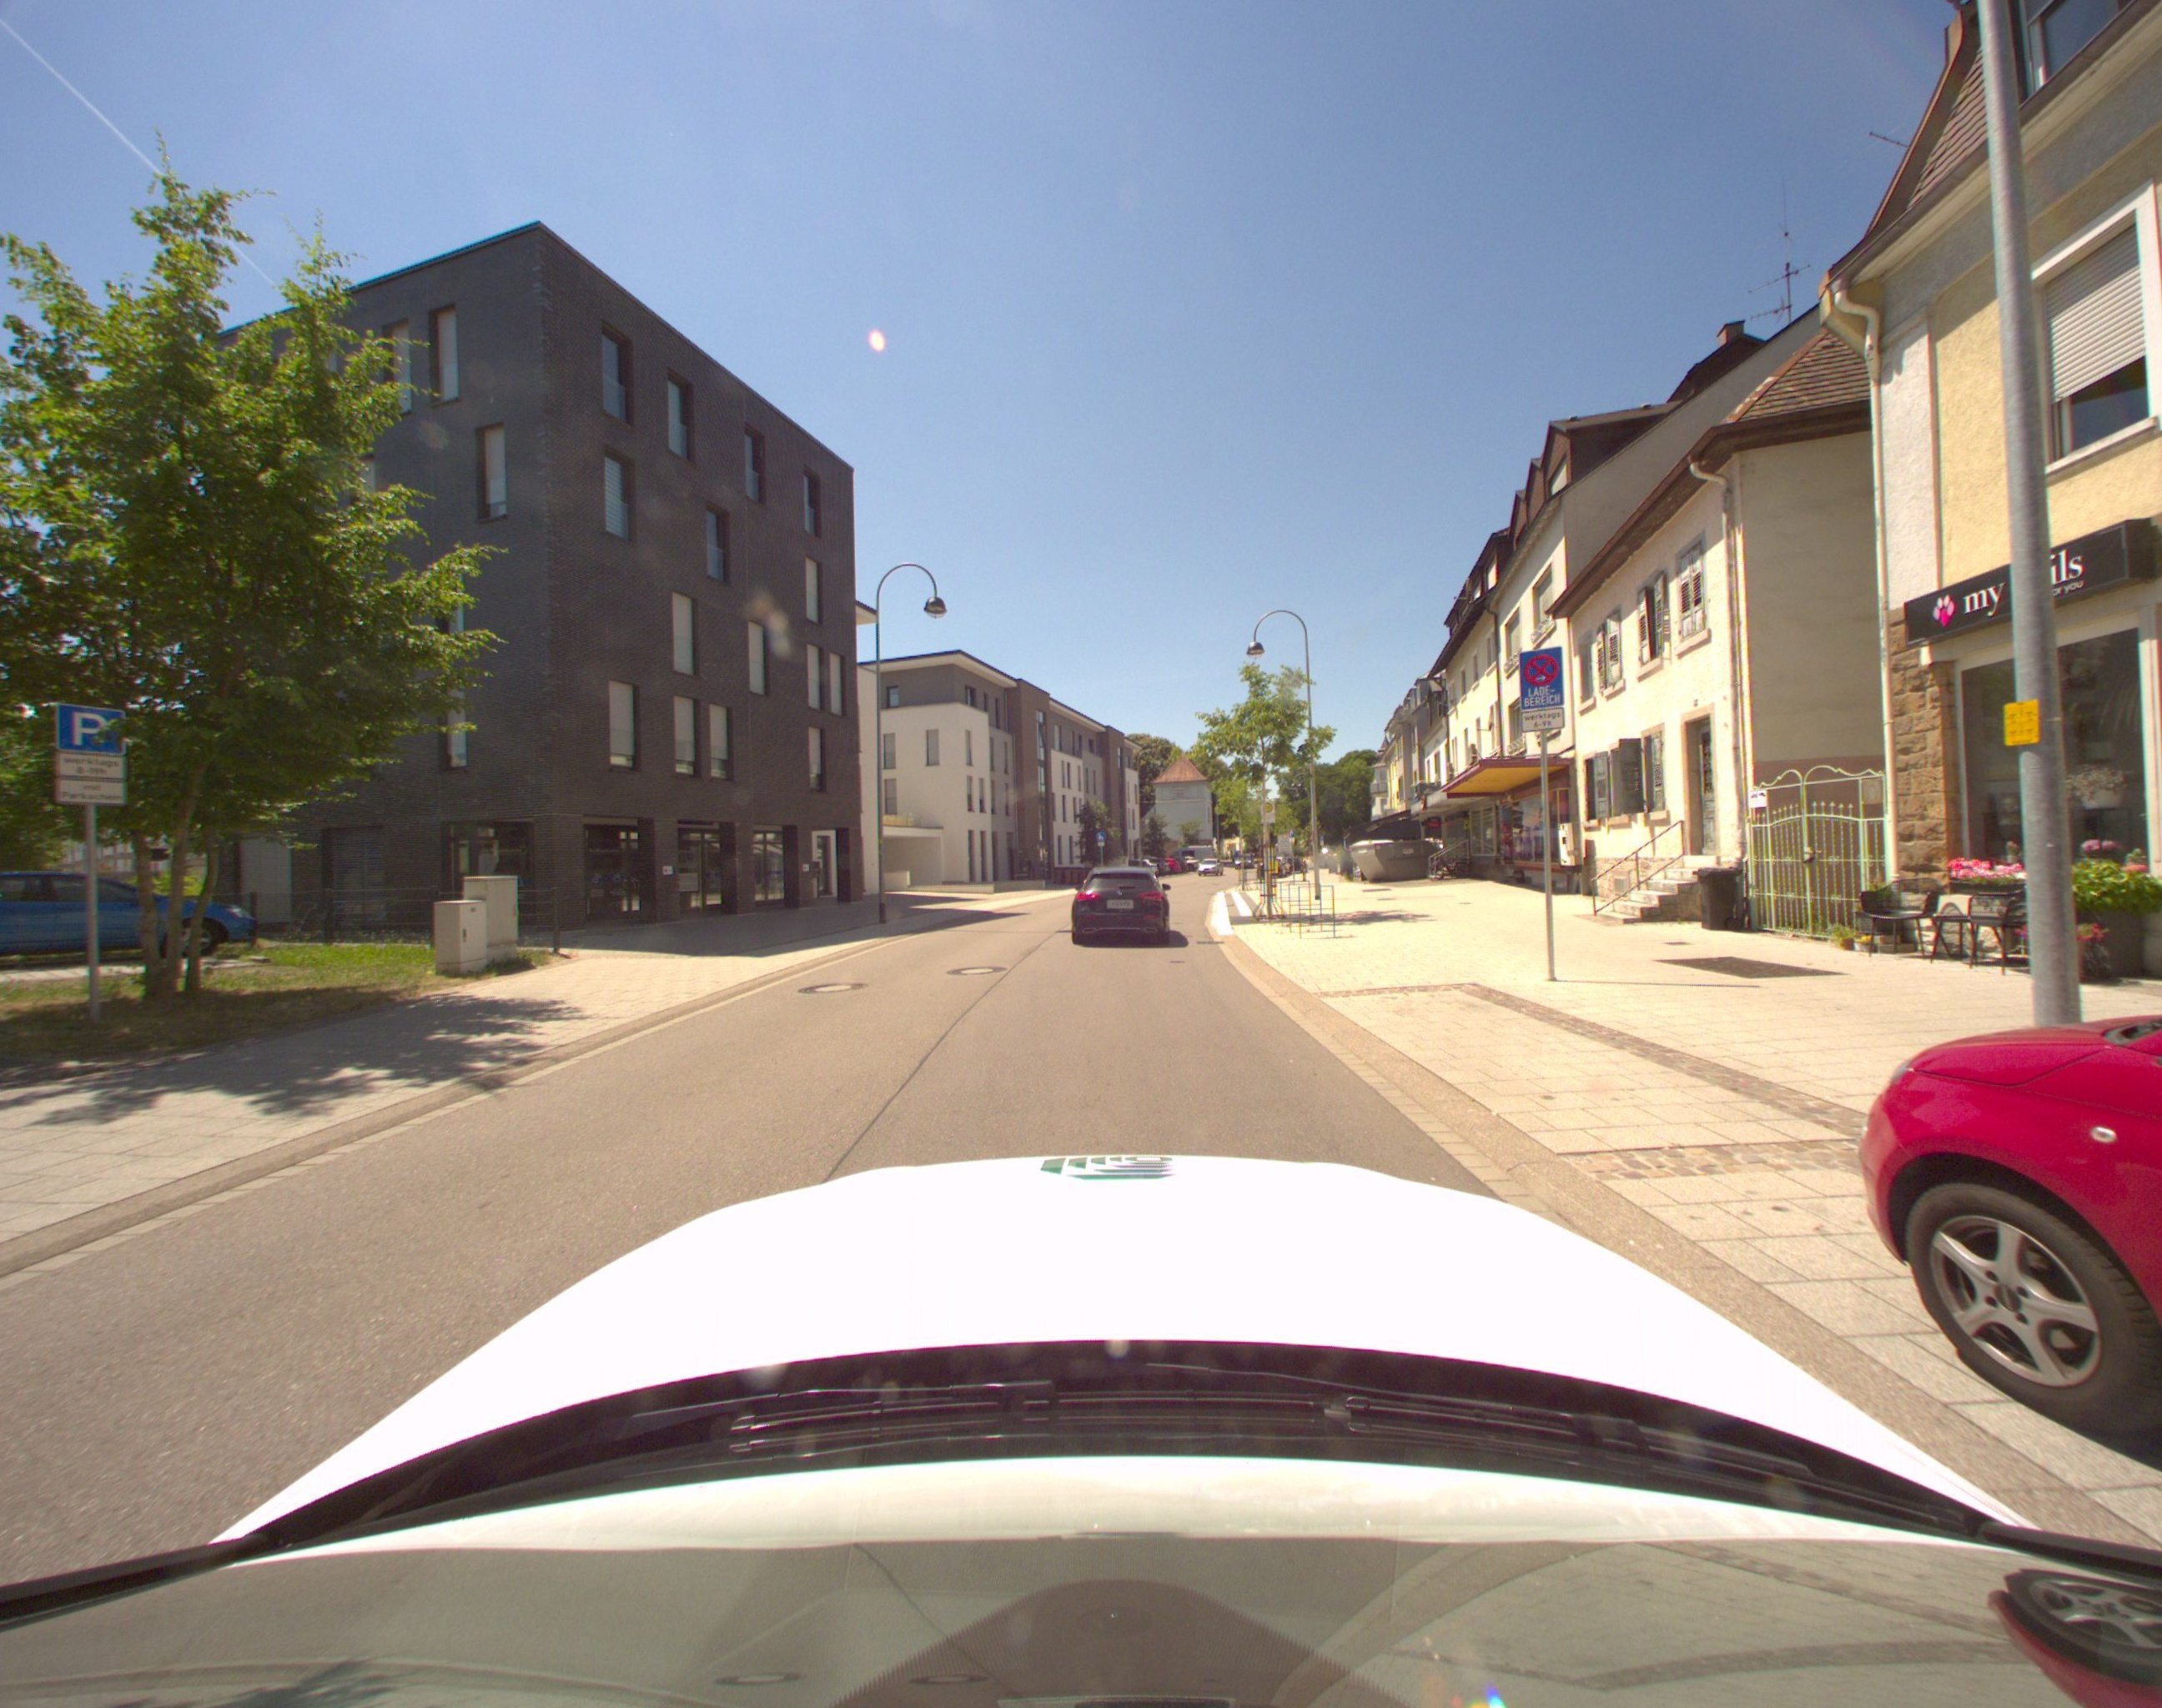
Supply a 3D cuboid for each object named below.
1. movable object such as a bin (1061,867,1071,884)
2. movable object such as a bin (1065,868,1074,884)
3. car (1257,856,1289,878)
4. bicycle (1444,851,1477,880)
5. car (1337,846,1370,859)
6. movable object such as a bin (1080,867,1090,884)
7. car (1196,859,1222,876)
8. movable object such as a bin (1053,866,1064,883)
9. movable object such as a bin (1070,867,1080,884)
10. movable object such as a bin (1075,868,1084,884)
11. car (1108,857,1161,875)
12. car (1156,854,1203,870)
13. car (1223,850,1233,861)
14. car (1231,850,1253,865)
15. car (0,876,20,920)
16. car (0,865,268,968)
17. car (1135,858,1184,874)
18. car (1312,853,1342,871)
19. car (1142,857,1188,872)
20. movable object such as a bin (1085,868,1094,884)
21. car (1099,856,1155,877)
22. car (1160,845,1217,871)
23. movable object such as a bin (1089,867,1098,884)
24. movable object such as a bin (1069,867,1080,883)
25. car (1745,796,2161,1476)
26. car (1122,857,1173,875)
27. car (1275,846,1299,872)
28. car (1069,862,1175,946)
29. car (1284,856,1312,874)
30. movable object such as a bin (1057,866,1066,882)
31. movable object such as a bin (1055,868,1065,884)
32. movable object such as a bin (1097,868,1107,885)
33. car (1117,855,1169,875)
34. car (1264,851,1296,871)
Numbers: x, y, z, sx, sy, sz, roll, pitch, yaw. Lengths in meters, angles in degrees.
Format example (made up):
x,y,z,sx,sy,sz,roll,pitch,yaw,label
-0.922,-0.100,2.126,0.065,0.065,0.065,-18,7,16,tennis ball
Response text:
x,y,z,sx,sy,sz,roll,pitch,yaw,label
-0.962,1.343,50.883,0.480,0.998,0.528,-2,-1,12,movable object such as a bin
-0.723,1.393,51.480,0.400,0.998,0.558,-2,-1,17,movable object such as a bin
14.169,0.962,60.014,1.817,1.482,4.115,-4,-2,19,car
16.053,0.484,34.482,1.258,1.184,0.417,0,-1,25,bicycle
36.051,-0.165,107.896,4.044,1.716,1.864,0,0,16,car
0.242,1.341,50.998,0.479,0.998,0.590,-2,-1,17,movable object such as a bin
11.037,1.117,70.116,1.654,1.396,3.864,-1,-1,17,car
-1.478,1.335,53.216,0.689,1.095,0.647,-1,-1,0,movable object such as a bin
-0.383,1.344,51.016,0.421,0.998,0.526,-2,-1,18,movable object such as a bin
-0.063,1.381,51.500,0.400,0.998,0.558,-2,-1,17,movable object such as a bin
4.337,0.995,65.997,3.955,1.421,1.919,0,0,18,car
9.991,0.775,82.847,4.418,1.591,2.009,0,0,18,car
28.041,0.327,155.408,1.981,2.014,4.011,0,-1,10,car
17.859,0.383,90.057,1.927,1.658,4.255,-1,-1,17,car
-47.185,1.873,33.058,1.974,1.862,4.814,-1,-1,31,car
-16.219,0.972,13.129,1.678,1.486,4.105,-2,-1,31,car
7.053,1.063,73.287,3.998,1.430,2.010,0,0,20,car
24.771,0.811,81.874,1.854,1.491,3.886,-3,0,32,car
8.022,0.987,77.656,4.170,1.437,1.893,0,0,14,car
0.520,1.369,51.281,0.400,0.998,0.558,-2,-1,17,movable object such as a bin
3.645,0.976,63.922,3.955,1.515,2.010,0,2,18,car
11.538,0.445,87.268,5.720,2.732,2.302,0,0,19,car
0.768,1.339,50.615,0.480,0.998,0.589,-1,-1,11,movable object such as a bin
-0.419,1.370,54.020,0.673,1.039,0.604,-1,-1,0,movable object such as a bin
3.200,0.574,1.161,1.673,1.514,3.386,-4,-1,0,car
5.844,1.022,71.140,3.998,1.496,2.010,0,0,20,car
23.605,0.513,93.210,2.110,2.629,5.304,-5,0,19,car
0.766,0.889,16.145,1.821,1.442,4.001,0,-1,1,car
19.194,0.961,71.861,1.709,1.405,4.633,-3,-1,22,car
-1.311,1.305,54.204,0.552,1.039,0.482,-1,-1,0,movable object such as a bin
-1.323,1.405,51.690,0.480,0.998,0.589,-1,-1,11,movable object such as a bin
1.343,1.413,51.381,0.479,0.998,0.590,-2,-1,16,movable object such as a bin
5.212,0.914,68.375,3.998,1.651,2.010,0,0,20,car
16.135,0.549,65.902,1.722,1.486,4.077,-4,-2,23,car
